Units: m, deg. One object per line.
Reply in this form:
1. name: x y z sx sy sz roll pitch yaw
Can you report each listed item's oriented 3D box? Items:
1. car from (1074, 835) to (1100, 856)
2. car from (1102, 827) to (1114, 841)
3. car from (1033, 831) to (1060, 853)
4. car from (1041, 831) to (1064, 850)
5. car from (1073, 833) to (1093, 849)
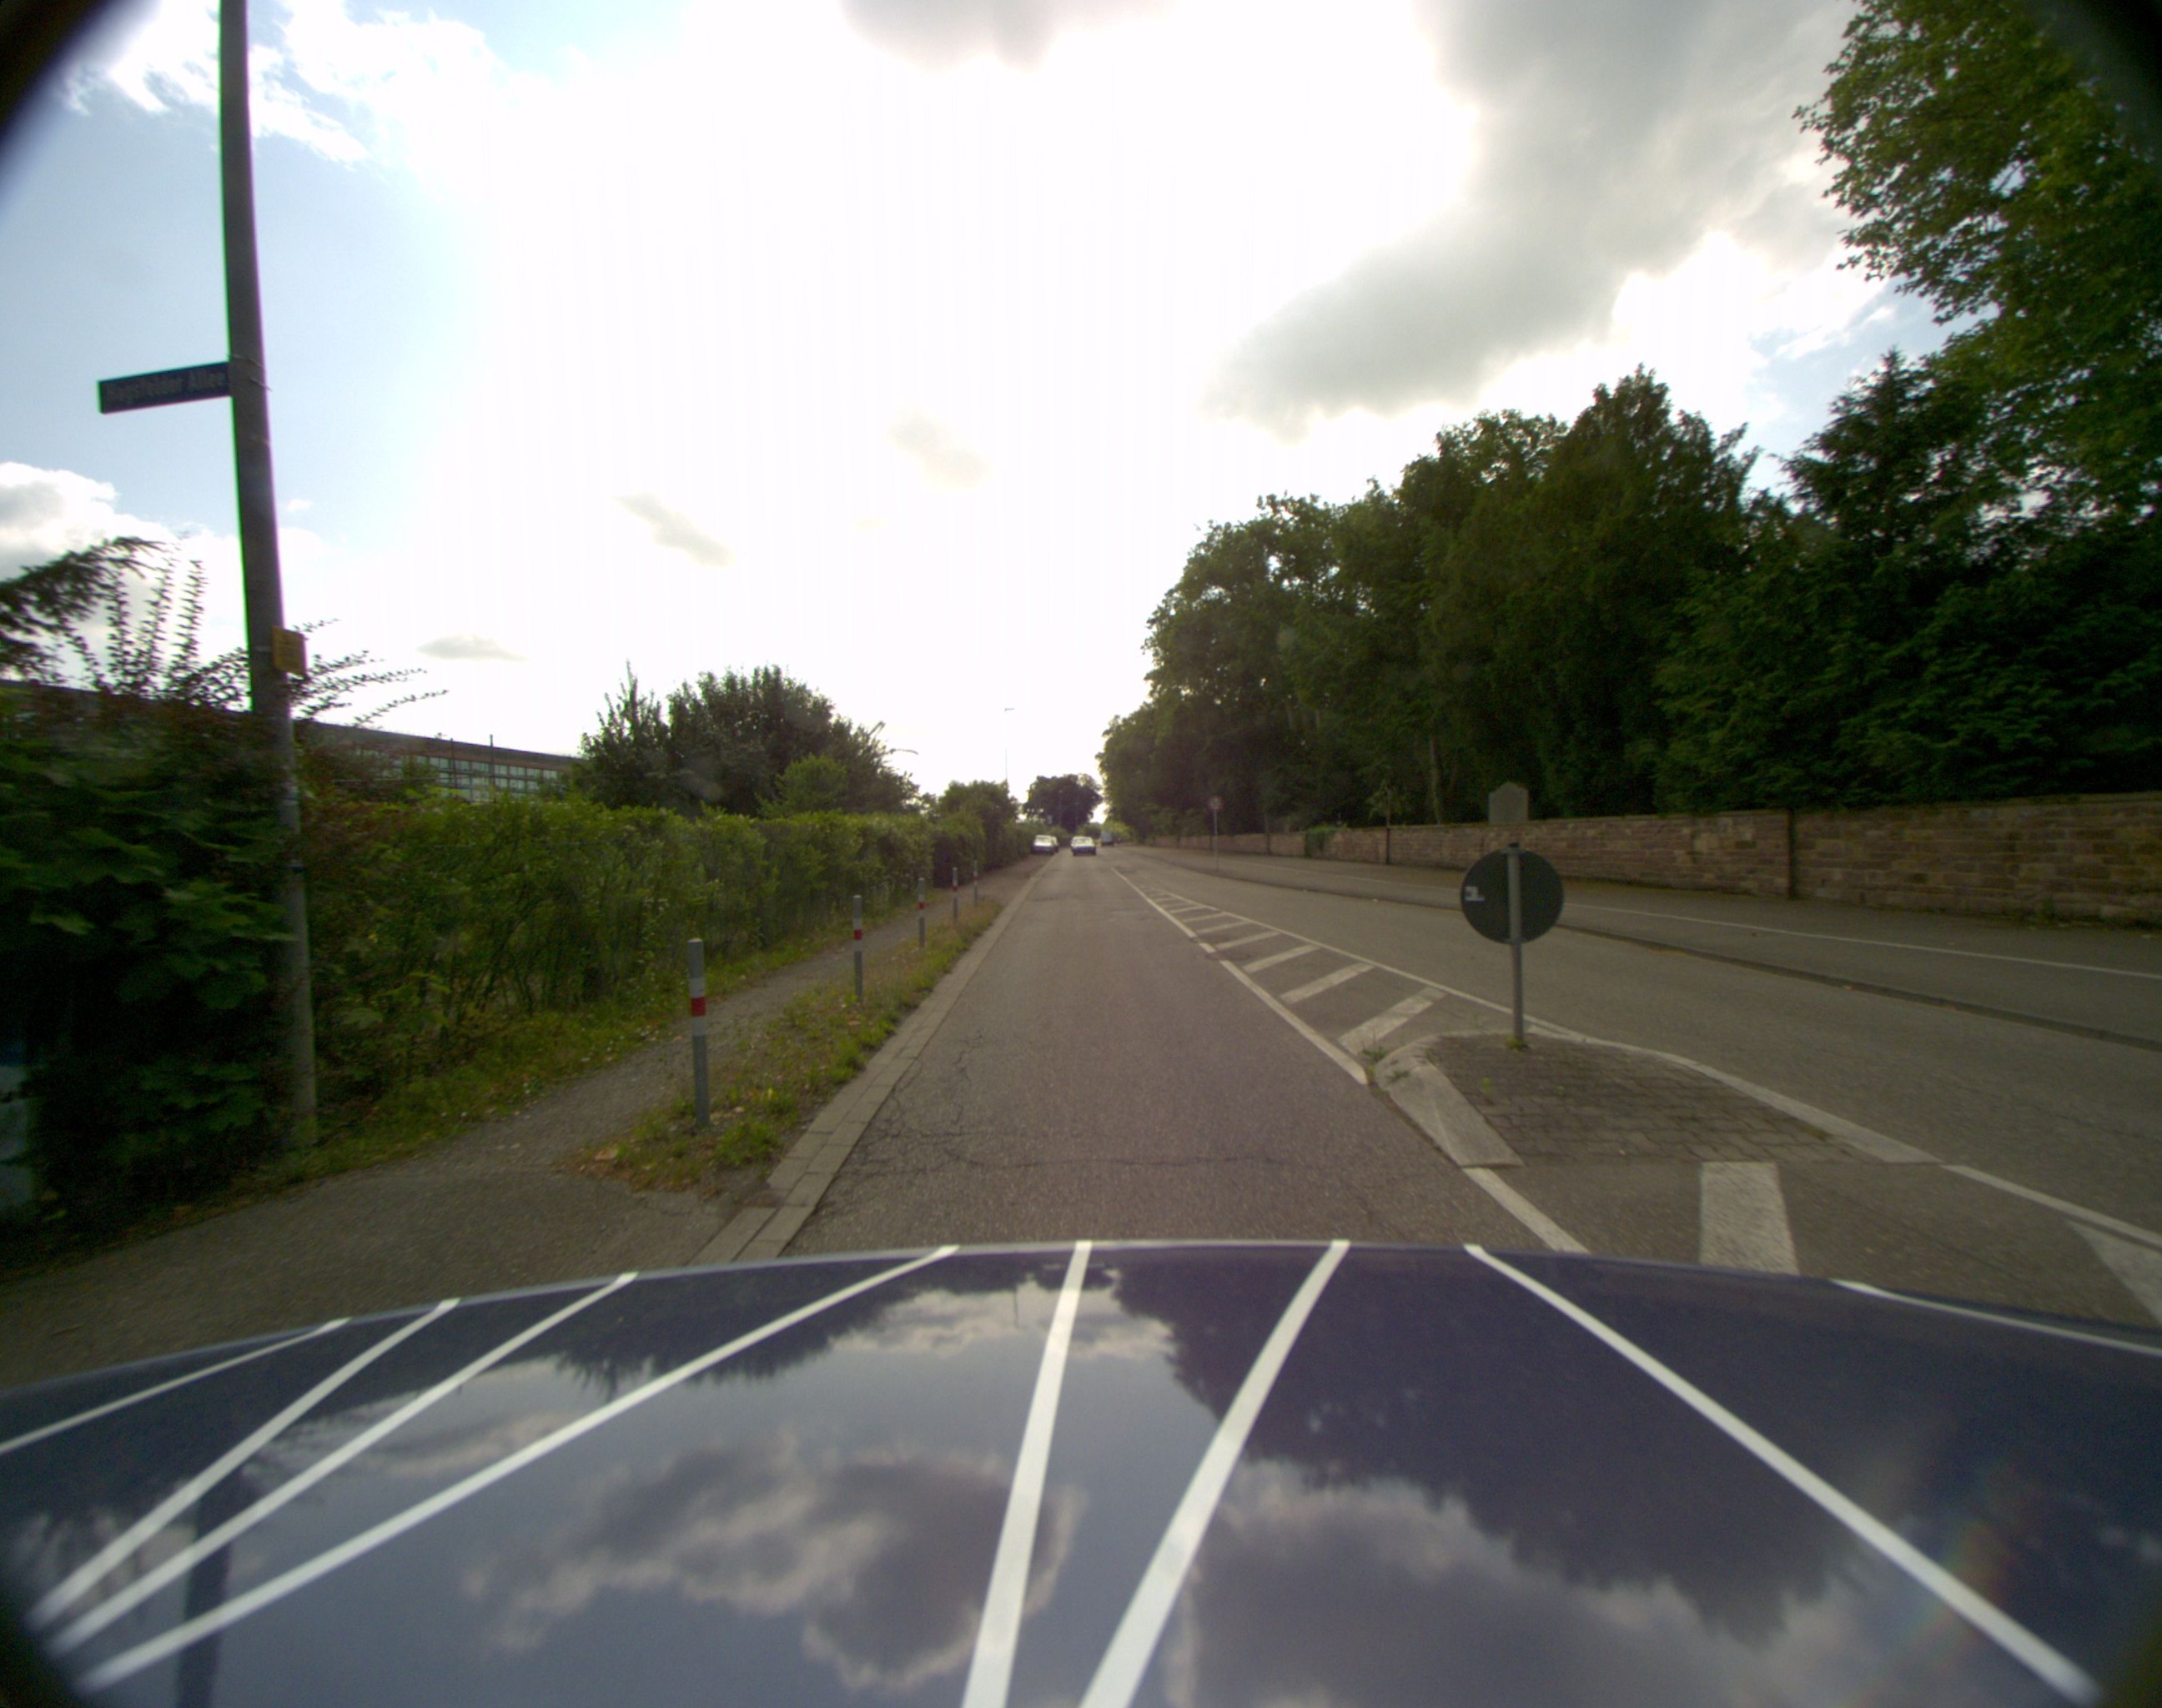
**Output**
1. car: 0.462 -0.625 59.561 1.965 1.455 4.530 -2 -1 0
2. car: 4.407 -3.238 124.927 1.998 2.221 4.374 -1 2 1
3. car: -2.778 -0.976 62.196 1.799 1.652 4.000 -2 0 2
4. car: -2.672 -1.231 71.515 1.799 1.652 4.000 -2 0 2
5. car: 0.229 -1.231 75.128 1.965 1.455 4.530 0 0 1
